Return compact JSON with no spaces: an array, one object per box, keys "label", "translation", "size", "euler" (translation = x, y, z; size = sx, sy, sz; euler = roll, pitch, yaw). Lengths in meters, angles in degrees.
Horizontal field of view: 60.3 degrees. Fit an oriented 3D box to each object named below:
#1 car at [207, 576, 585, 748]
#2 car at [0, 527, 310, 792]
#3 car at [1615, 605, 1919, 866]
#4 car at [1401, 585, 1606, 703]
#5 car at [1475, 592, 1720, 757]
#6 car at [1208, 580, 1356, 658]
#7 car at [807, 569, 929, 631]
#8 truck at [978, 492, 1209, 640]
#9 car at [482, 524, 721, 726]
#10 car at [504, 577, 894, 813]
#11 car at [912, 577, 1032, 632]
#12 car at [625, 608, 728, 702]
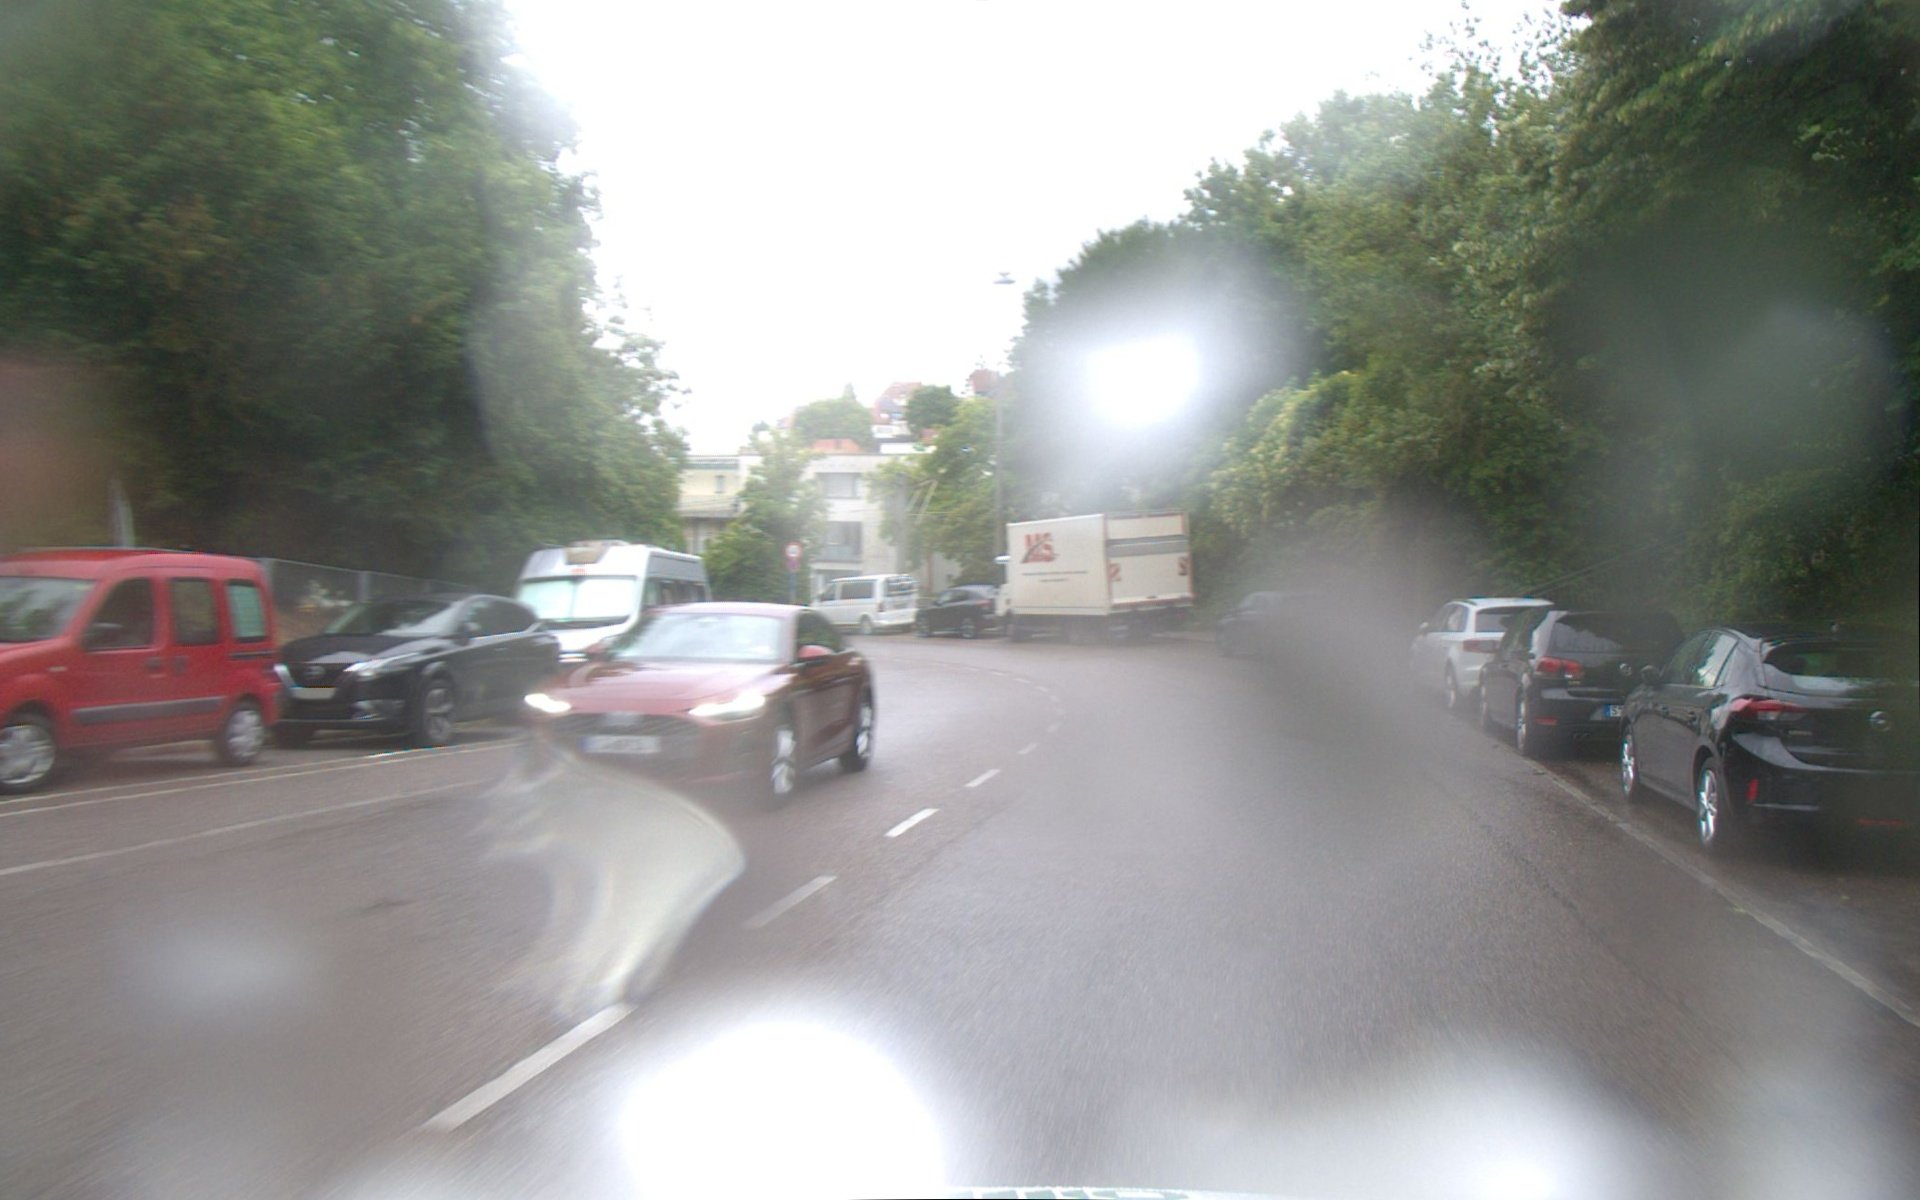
[{"label":"car","translation":[-5.963,0.644,18.150],"size":[1.951,1.648,4.400],"euler":[0,-1,11]},{"label":"car","translation":[-7.073,0.447,13.045],"size":[1.713,1.799,4.140],"euler":[0,-2,9]},{"label":"car","translation":[5.764,0.802,11.487],"size":[1.556,1.413,3.825],"euler":[2,1,11]},{"label":"car","translation":[7.304,0.526,22.606],"size":[1.718,1.425,4.098],"euler":[0,1,4]},{"label":"car","translation":[6.535,0.679,17.367],"size":[1.624,1.449,3.972],"euler":[0,1,9]},{"label":"car","translation":[6.771,0.351,35.194],"size":[1.689,1.469,4.115],"euler":[-3,1,-10]},{"label":"car","translation":[-3.279,0.025,58.227],"size":[1.866,2.049,4.621],"euler":[-1,0,-41]},{"label":"truck","translation":[3.532,-0.854,46.486],"size":[2.966,3.635,8.281],"euler":[-4,1,-22]},{"label":"car","translation":[-5.159,0.321,24.843],"size":[2.031,2.594,6.348],"euler":[-1,0,1]},{"label":"car","translation":[-1.853,0.674,13.276],"size":[1.827,1.543,4.487],"euler":[-1,-1,8]},{"label":"car","translation":[0.350,0.153,53.016],"size":[1.704,1.582,4.226],"euler":[-5,2,-34]},{"label":"car","translation":[-5.501,1.043,32.127],"size":[1.771,1.610,4.015],"euler":[-3,-1,-10]}]
